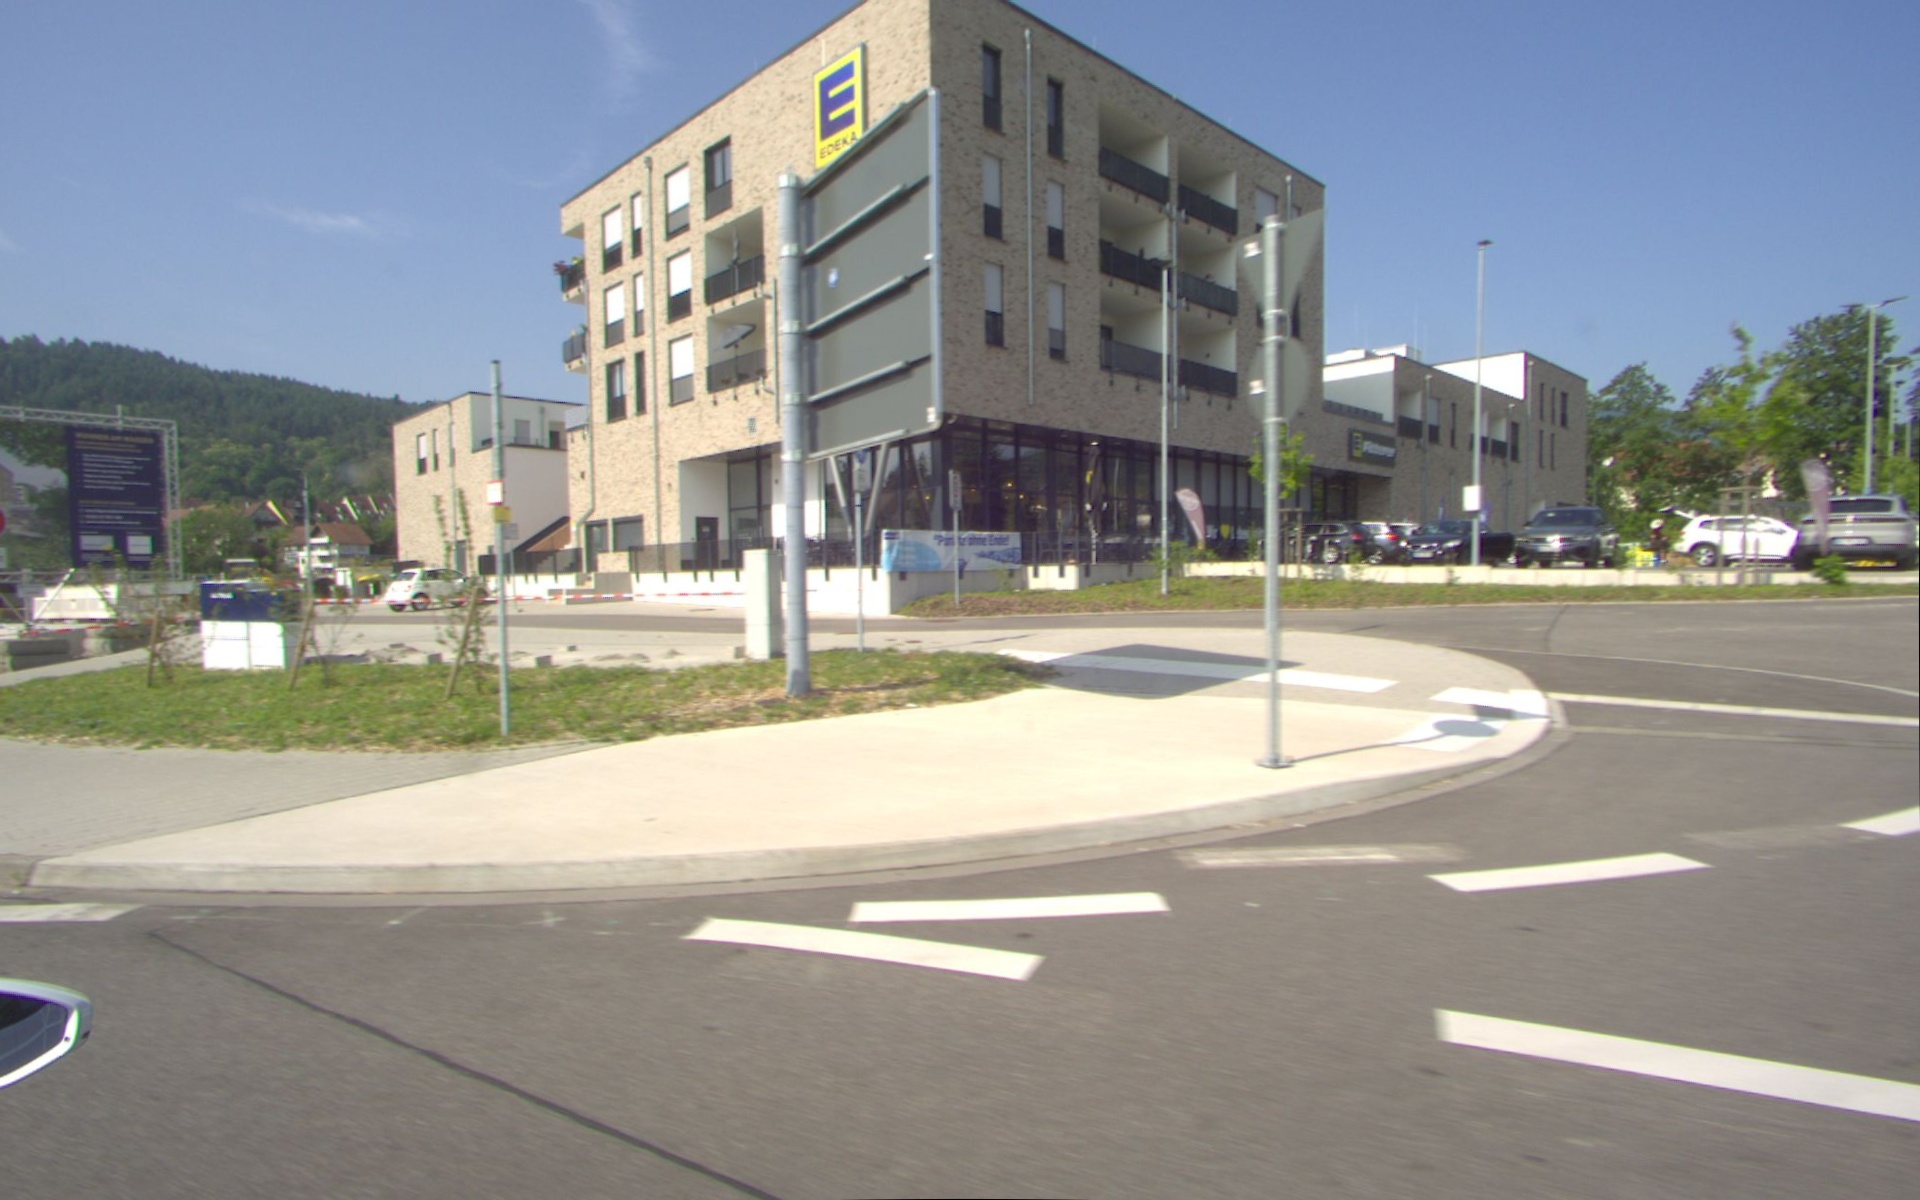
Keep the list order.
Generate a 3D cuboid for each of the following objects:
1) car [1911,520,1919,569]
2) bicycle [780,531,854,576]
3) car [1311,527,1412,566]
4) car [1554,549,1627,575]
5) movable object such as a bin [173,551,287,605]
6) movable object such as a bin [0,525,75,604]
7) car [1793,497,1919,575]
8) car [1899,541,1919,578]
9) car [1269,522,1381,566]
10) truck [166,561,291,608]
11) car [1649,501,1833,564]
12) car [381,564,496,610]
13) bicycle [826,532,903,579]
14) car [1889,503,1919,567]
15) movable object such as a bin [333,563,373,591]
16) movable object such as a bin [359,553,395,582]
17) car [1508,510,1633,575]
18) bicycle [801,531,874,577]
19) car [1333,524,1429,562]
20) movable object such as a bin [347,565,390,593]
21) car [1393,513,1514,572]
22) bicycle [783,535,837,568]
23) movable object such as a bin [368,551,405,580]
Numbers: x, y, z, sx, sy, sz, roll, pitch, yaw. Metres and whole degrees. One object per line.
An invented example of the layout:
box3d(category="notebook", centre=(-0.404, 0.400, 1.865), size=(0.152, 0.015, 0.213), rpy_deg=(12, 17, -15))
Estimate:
box3d(category="car", centre=(35.435, -1.923, 34.269), size=(3.948, 1.662, 1.860), rpy_deg=(2, 0, 37))
box3d(category="bicycle", centre=(-4.089, -1.305, 28.792), size=(0.845, 1.159, 2.232), rpy_deg=(2, 0, 33))
box3d(category="car", centre=(15.420, -2.026, 38.533), size=(1.475, 1.369, 3.301), rpy_deg=(1, 0, -42))
box3d(category="car", centre=(35.576, -2.131, 56.533), size=(3.290, 1.369, 1.616), rpy_deg=(2, 0, 39))
box3d(category="movable object such as a bin", centre=(-38.079, -1.198, 52.384), size=(4.563, 2.605, 1.913), rpy_deg=(-4, 3, -33))
box3d(category="movable object such as a bin", centre=(-46.243, -1.697, 48.930), size=(2.813, 3.670, 5.715), rpy_deg=(1, 0, -23))
box3d(category="car", centre=(20.384, -1.494, 22.572), size=(4.769, 1.578, 1.839), rpy_deg=(-5, 7, -43))
box3d(category="car", centre=(46.372, -1.876, 46.506), size=(3.955, 1.697, 1.983), rpy_deg=(2, 0, 43))
box3d(category="car", centre=(12.523, -1.895, 34.467), size=(3.293, 1.369, 1.479), rpy_deg=(2, 0, 41))
box3d(category="truck", centre=(-40.119, -0.874, 55.106), size=(5.258, 2.297, 2.205), rpy_deg=(-3, 3, -33))
box3d(category="car", centre=(25.736, -2.156, 33.109), size=(1.980, 1.906, 4.533), rpy_deg=(-2, 2, -43))
box3d(category="car", centre=(-19.103, -0.498, 36.792), size=(1.571, 1.515, 3.397), rpy_deg=(-1, 2, 31))
box3d(category="bicycle", centre=(-2.583, -1.185, 27.350), size=(0.845, 1.159, 2.232), rpy_deg=(2, 0, 33))
box3d(category="car", centre=(33.669, -2.135, 32.747), size=(4.587, 2.040, 1.987), rpy_deg=(2, 1, 37))
box3d(category="movable object such as a bin", centre=(-33.481, -1.253, 55.202), size=(1.305, 1.483, 1.572), rpy_deg=(2, 1, 42))
box3d(category="movable object such as a bin", centre=(-30.913, -1.707, 53.084), size=(1.305, 1.483, 1.293), rpy_deg=(2, 1, 42))
box3d(category="car", centre=(16.167, -1.580, 26.437), size=(1.837, 1.578, 4.416), rpy_deg=(5, 7, 44))
box3d(category="bicycle", centre=(-3.408, -1.262, 28.160), size=(0.755, 1.159, 2.232), rpy_deg=(2, 0, 33))
box3d(category="car", centre=(17.177, -2.313, 40.960), size=(1.530, 1.369, 3.304), rpy_deg=(1, 0, -39))
box3d(category="movable object such as a bin", centre=(-31.954, -1.133, 54.062), size=(1.305, 1.483, 1.685), rpy_deg=(2, 1, 42))
box3d(category="car", centre=(14.330, -1.716, 28.964), size=(1.837, 1.578, 4.416), rpy_deg=(5, 7, 44))
box3d(category="bicycle", centre=(-5.252, -1.672, 34.958), size=(0.687, 1.059, 2.222), rpy_deg=(1, 1, -44))
box3d(category="movable object such as a bin", centre=(-29.916, -1.788, 52.235), size=(1.305, 1.483, 1.293), rpy_deg=(2, 1, 42))
